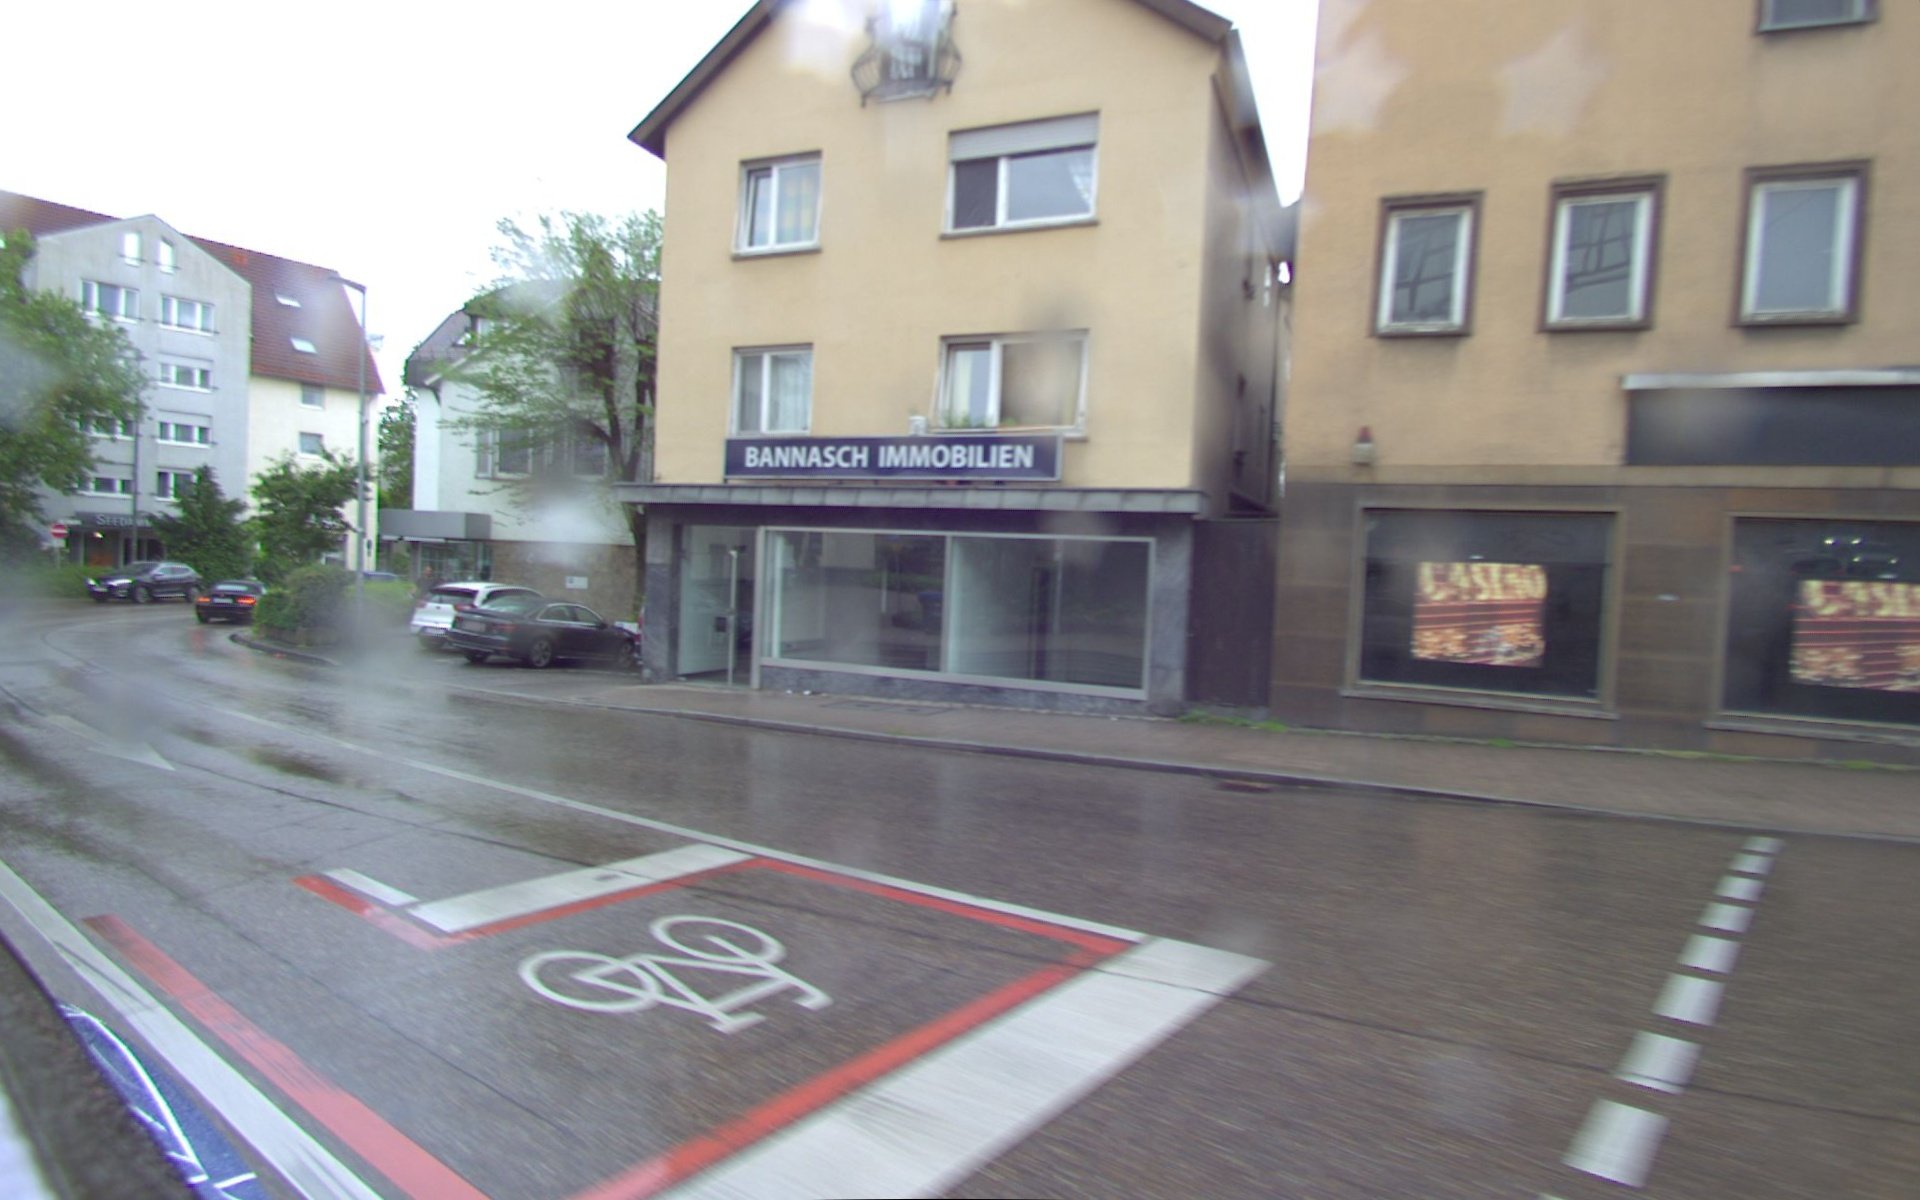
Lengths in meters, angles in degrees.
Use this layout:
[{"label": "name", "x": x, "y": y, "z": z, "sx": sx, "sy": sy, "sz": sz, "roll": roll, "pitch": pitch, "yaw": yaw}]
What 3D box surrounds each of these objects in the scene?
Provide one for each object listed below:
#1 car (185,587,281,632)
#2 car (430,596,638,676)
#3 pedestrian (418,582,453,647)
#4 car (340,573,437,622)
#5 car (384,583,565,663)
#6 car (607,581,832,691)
[{"label": "car", "x": -24.205, "y": 0.312, "z": 33.837, "sx": 1.834, "sy": 1.397, "sz": 4.276, "roll": 0, "pitch": -1, "yaw": -25}, {"label": "car", "x": -8.876, "y": 0.709, "z": 21.464, "sx": 1.885, "sy": 1.464, "sz": 3.974, "roll": 2, "pitch": 0, "yaw": 19}, {"label": "pedestrian", "x": -13.047, "y": 0.363, "z": 25.190, "sx": 0.646, "sy": 1.587, "sz": 0.546, "roll": 1, "pitch": -1, "yaw": -42}, {"label": "car", "x": -25.056, "y": -0.048, "z": 44.583, "sx": 1.970, "sy": 1.896, "sz": 4.382, "roll": 2, "pitch": -3, "yaw": -4}, {"label": "car", "x": -11.234, "y": 0.495, "z": 23.703, "sx": 1.980, "sy": 1.641, "sz": 3.630, "roll": 2, "pitch": 0, "yaw": 13}, {"label": "car", "x": -4.624, "y": 0.838, "z": 20.427, "sx": 1.949, "sy": 1.839, "sz": 4.899, "roll": 0, "pitch": -6, "yaw": 21}]
